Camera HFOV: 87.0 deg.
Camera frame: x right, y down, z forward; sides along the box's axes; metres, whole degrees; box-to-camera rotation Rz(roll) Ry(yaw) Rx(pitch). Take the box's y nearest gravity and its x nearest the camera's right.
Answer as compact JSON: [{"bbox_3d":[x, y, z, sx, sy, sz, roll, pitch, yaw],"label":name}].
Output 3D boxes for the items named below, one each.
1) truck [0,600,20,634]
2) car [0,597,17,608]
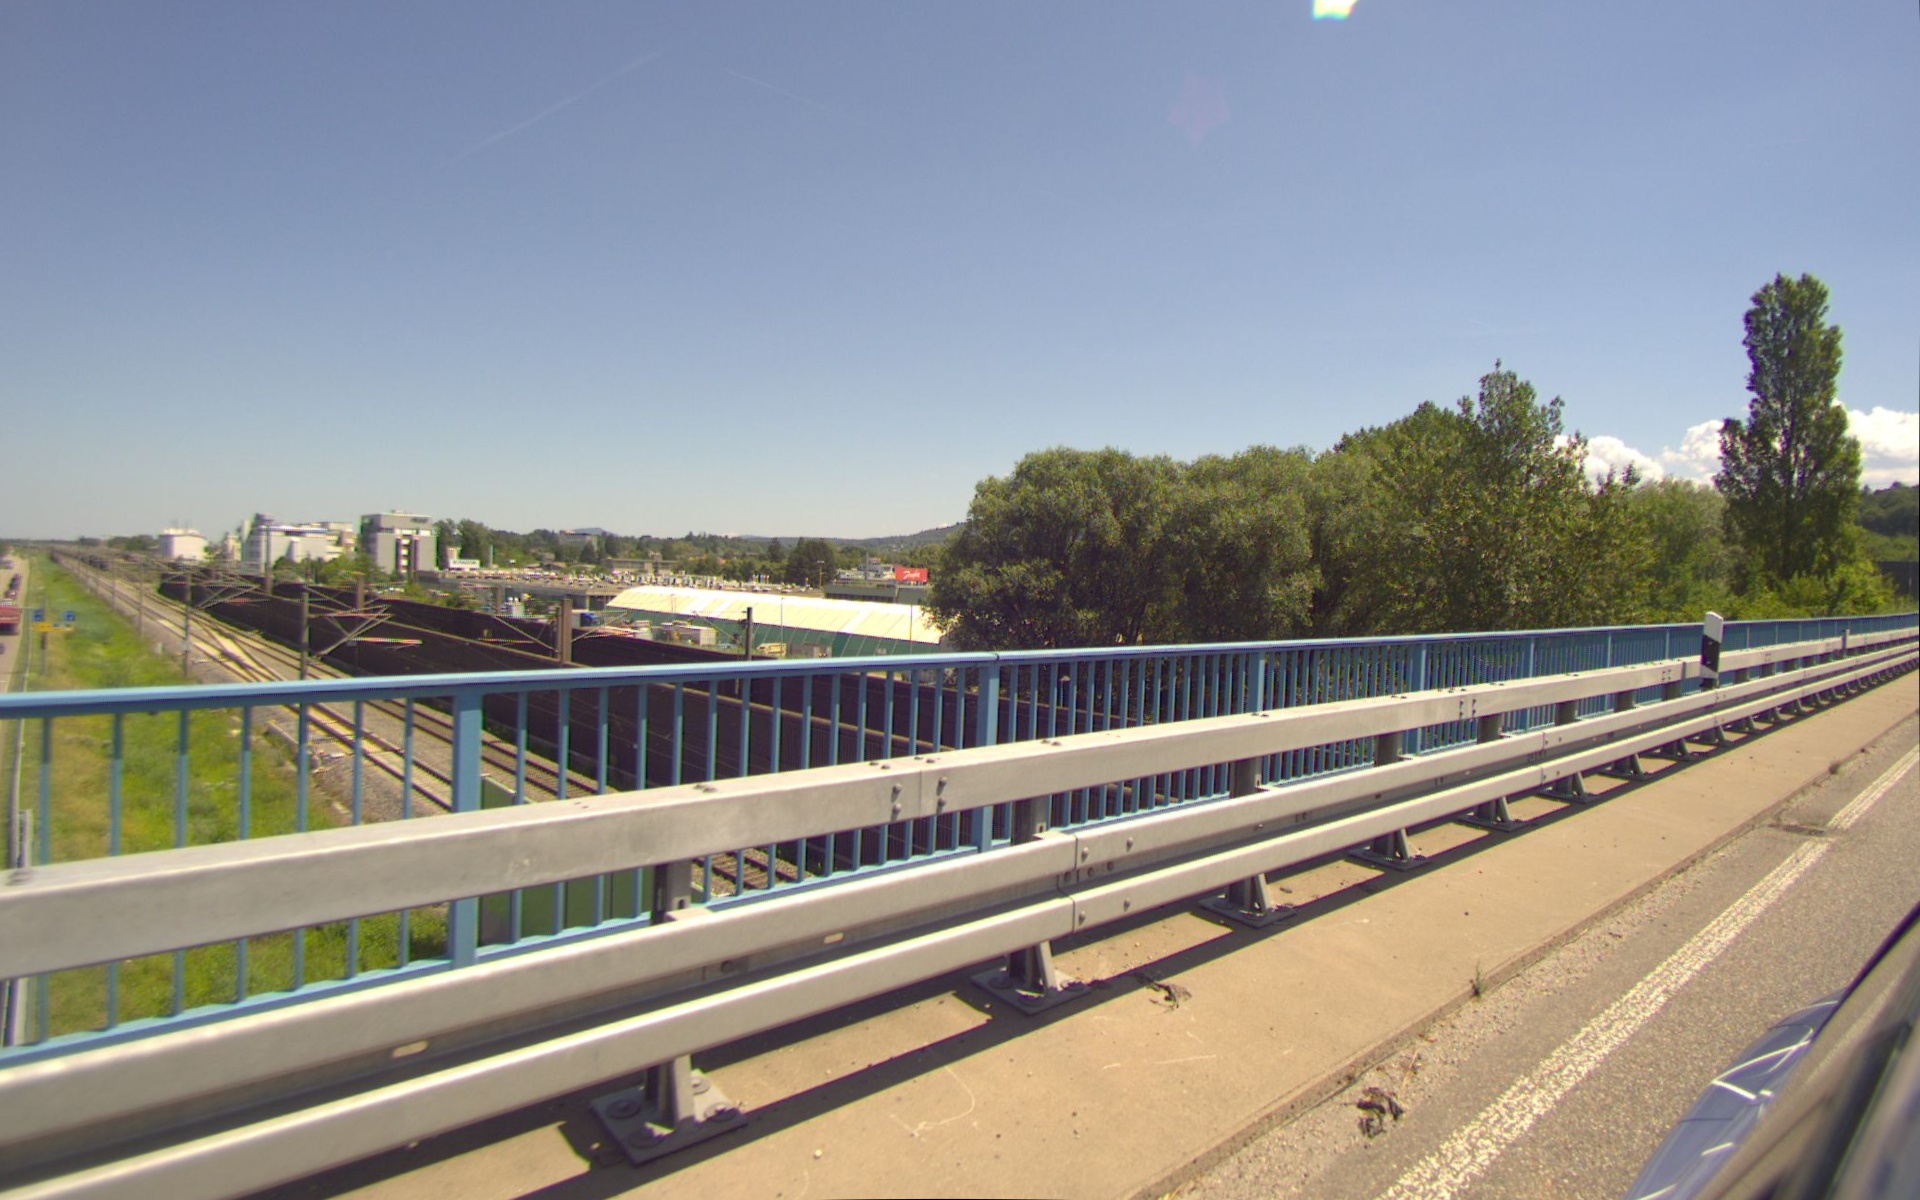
[{"bbox_3d":[-113.012,1.966,119.441,2.827,3.467,10.967,2,1,-43],"label":"truck"},{"bbox_3d":[-156.309,0.375,166.044,1.965,1.638,4.238,2,0,-41],"label":"car"}]
